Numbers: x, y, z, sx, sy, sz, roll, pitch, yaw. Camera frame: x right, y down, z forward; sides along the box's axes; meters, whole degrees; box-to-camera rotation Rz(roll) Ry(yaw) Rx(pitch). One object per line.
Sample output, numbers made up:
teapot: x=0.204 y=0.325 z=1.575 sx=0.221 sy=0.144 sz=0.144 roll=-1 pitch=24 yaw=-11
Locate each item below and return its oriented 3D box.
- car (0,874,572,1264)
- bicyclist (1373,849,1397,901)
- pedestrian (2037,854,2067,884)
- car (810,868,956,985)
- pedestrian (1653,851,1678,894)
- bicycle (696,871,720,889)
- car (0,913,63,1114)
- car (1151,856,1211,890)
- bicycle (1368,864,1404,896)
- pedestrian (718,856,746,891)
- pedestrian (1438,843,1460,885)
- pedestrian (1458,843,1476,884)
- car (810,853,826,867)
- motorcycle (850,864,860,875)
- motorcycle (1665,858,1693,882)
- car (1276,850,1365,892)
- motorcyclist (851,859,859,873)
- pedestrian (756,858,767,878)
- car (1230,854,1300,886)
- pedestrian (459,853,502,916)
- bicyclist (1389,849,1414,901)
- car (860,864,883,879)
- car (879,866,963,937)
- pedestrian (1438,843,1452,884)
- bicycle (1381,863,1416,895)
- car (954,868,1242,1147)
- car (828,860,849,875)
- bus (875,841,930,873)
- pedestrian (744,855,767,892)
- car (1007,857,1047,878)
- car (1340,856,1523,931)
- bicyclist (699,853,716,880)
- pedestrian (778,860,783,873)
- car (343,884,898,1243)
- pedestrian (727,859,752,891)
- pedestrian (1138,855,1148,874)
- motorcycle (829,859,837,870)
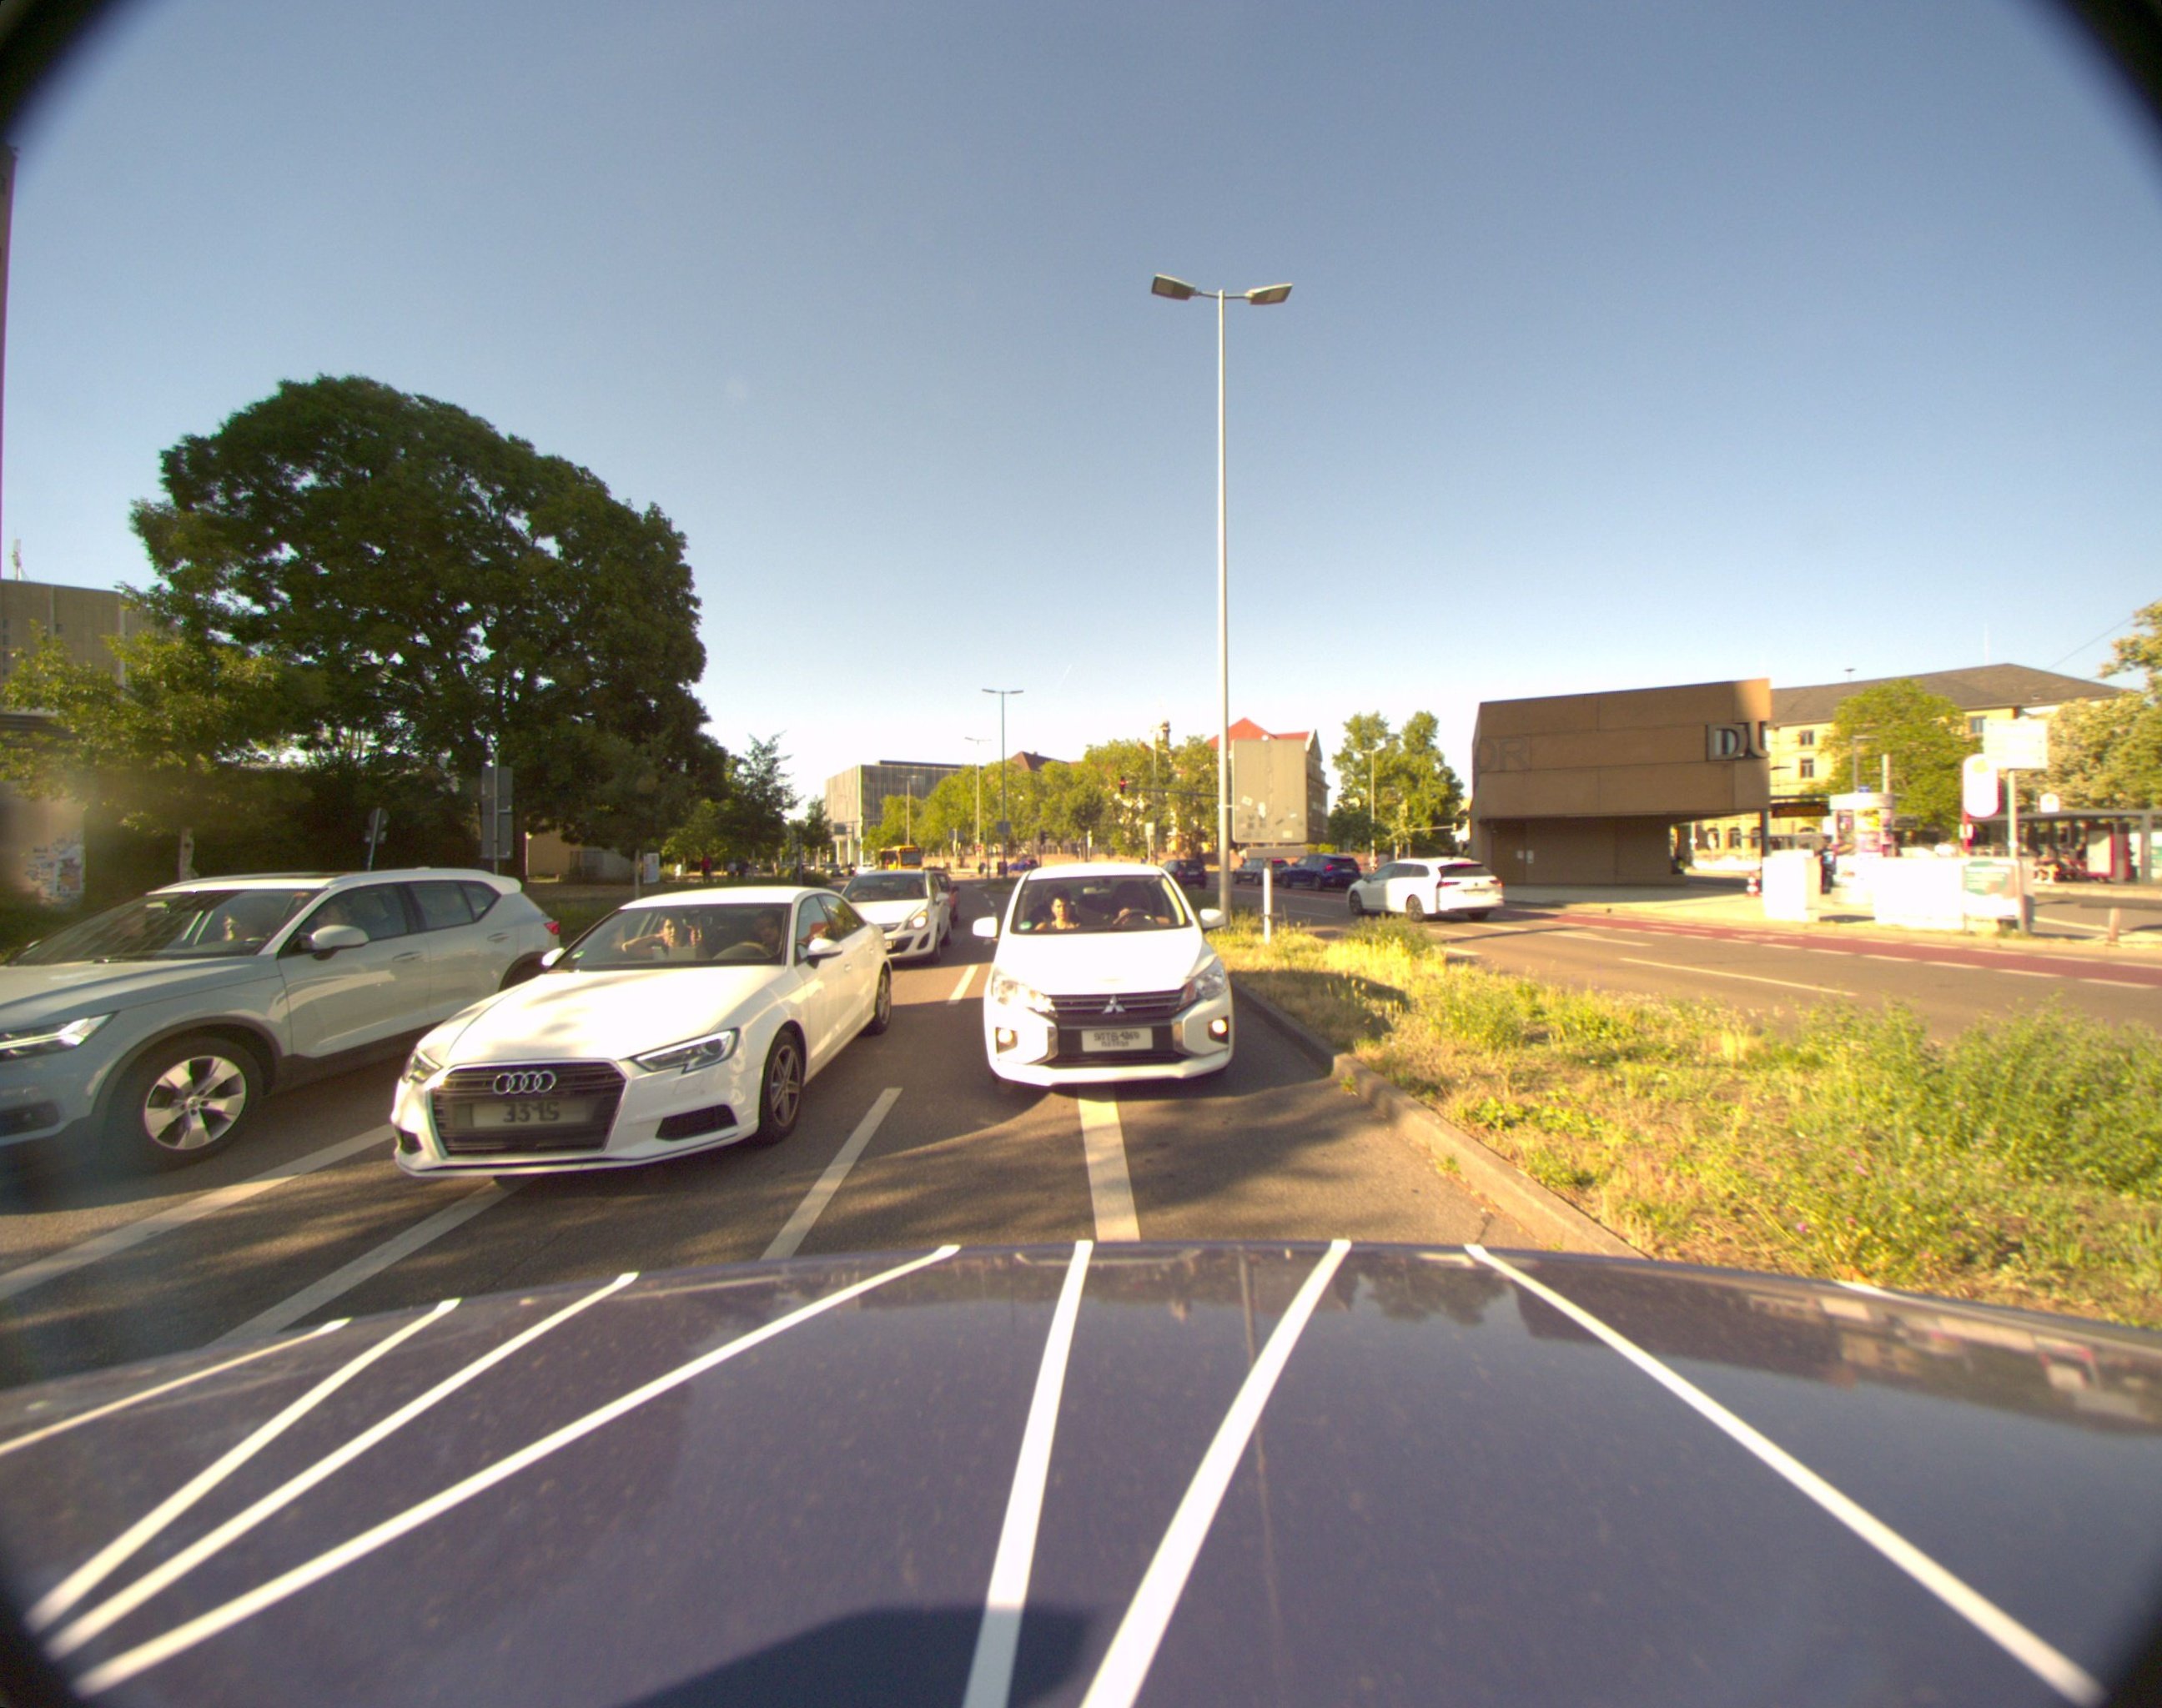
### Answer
car: x=-5.758 y=1.050 z=5.269 sx=1.628 sy=1.611 sz=4.223 roll=-2 pitch=1 yaw=-2
bicyclist: x=11.756 y=0.797 z=29.394 sx=0.611 sy=2.002 sz=0.565 roll=-1 pitch=1 yaw=-15
pedestrian: x=39.008 y=0.603 z=30.532 sx=0.539 sy=1.180 sz=0.659 roll=-2 pitch=1 yaw=29
car: x=-3.083 y=1.045 z=12.592 sx=1.628 sy=1.451 sz=4.039 roll=-2 pitch=1 yaw=-5
pedestrian: x=27.905 y=0.893 z=36.266 sx=0.780 sy=2.002 sz=0.771 roll=-3 pitch=2 yaw=-42
bicycle: x=-22.035 y=1.534 z=44.902 sx=0.660 sy=0.958 sz=2.033 roll=0 pitch=1 yaw=-7
car: x=-8.765 y=1.238 z=3.894 sx=1.628 sy=1.451 sz=4.040 roll=-2 pitch=1 yaw=-2
car: x=4.831 y=0.884 z=37.325 sx=1.756 sy=1.451 sz=4.185 roll=-2 pitch=1 yaw=-9
bicycle: x=11.821 y=1.001 z=29.481 sx=0.464 sy=1.185 sz=1.395 roll=-3 pitch=1 yaw=-17
pedestrian: x=-21.095 y=1.164 z=45.975 sx=1.143 sy=2.002 sz=1.285 roll=-2 pitch=1 yaw=-10
pedestrian: x=18.100 y=0.489 z=37.380 sx=0.777 sy=2.002 sz=0.773 roll=-2 pitch=1 yaw=13
pedestrian: x=18.841 y=0.463 z=37.105 sx=0.655 sy=2.002 sz=0.469 roll=-2 pitch=1 yaw=20
car: x=-32.113 y=0.747 z=92.733 sx=1.748 sy=1.696 sz=3.993 roll=-1 pitch=0 yaw=-21
motorcycle: x=-26.007 y=1.771 z=87.430 sx=0.719 sy=1.297 sz=2.230 roll=-3 pitch=1 yaw=-23
motorcycle: x=26.160 y=0.701 z=33.238 sx=0.948 sy=1.061 sz=0.331 roll=-1 pitch=1 yaw=39
car: x=10.362 y=0.701 z=33.177 sx=1.757 sy=1.680 sz=4.183 roll=-1 pitch=0 yaw=-14
motorcyclist: x=-25.971 y=1.388 z=87.302 sx=0.712 sy=1.581 sz=0.689 roll=-3 pitch=1 yaw=-24
pedestrian: x=-31.741 y=1.388 z=75.537 sx=0.852 sy=2.002 sz=0.833 roll=-3 pitch=1 yaw=-15
car: x=9.343 y=0.782 z=38.966 sx=1.850 sy=1.483 sz=4.388 roll=1 pitch=0 yaw=-10
pedestrian: x=-15.675 y=0.791 z=19.842 sx=0.596 sy=1.585 sz=0.594 roll=-2 pitch=1 yaw=-8
bicyclist: x=12.442 y=0.803 z=29.509 sx=0.611 sy=2.002 sz=0.708 roll=-1 pitch=1 yaw=-15
car: x=-22.414 y=1.838 z=81.062 sx=1.758 sy=1.451 sz=4.181 roll=-3 pitch=1 yaw=-23
car: x=-3.907 y=1.093 z=19.109 sx=1.628 sy=1.451 sz=4.039 roll=-2 pitch=1 yaw=-7
pedestrian: x=18.346 y=0.469 z=38.306 sx=0.467 sy=2.002 sz=0.657 roll=-2 pitch=1 yaw=17
bicycle: x=12.402 y=0.976 z=29.693 sx=0.464 sy=1.185 sz=1.395 roll=-3 pitch=1 yaw=-17
car: x=0.049 y=0.929 z=6.447 sx=1.628 sy=1.451 sz=4.040 roll=-2 pitch=1 yaw=-2
car: x=-25.743 y=1.412 z=80.561 sx=1.758 sy=1.451 sz=4.181 roll=-3 pitch=1 yaw=-21
bus: x=-19.957 y=0.341 z=84.341 sx=3.091 sy=3.193 sz=12.518 roll=-3 pitch=1 yaw=-26
pedestrian: x=-18.458 y=1.095 z=43.092 sx=0.895 sy=2.002 sz=0.881 roll=-2 pitch=1 yaw=-10
car: x=-5.650 y=1.396 z=79.344 sx=2.004 sy=2.002 sz=3.989 roll=-3 pitch=1 yaw=-43
car: x=8.281 y=0.846 z=18.473 sx=1.850 sy=1.483 sz=4.388 roll=-2 pitch=1 yaw=-10
bicyclist: x=-22.065 y=0.704 z=44.895 sx=0.617 sy=1.551 sz=0.870 roll=-2 pitch=1 yaw=-8
pedestrian: x=-38.828 y=1.653 z=98.175 sx=0.399 sy=1.676 sz=0.483 roll=-1 pitch=1 yaw=1
car: x=-2.561 y=1.033 z=5.403 sx=1.628 sy=1.396 sz=3.832 roll=-2 pitch=1 yaw=-2
pedestrian: x=-18.896 y=1.164 z=42.027 sx=1.010 sy=1.711 sz=0.884 roll=-2 pitch=1 yaw=-10
pedestrian: x=6.141 y=1.033 z=75.292 sx=0.797 sy=1.886 sz=0.612 roll=0 pitch=1 yaw=40
motorcycle: x=-28.756 y=1.203 z=88.068 sx=0.719 sy=1.297 sz=2.230 roll=-3 pitch=1 yaw=-24
